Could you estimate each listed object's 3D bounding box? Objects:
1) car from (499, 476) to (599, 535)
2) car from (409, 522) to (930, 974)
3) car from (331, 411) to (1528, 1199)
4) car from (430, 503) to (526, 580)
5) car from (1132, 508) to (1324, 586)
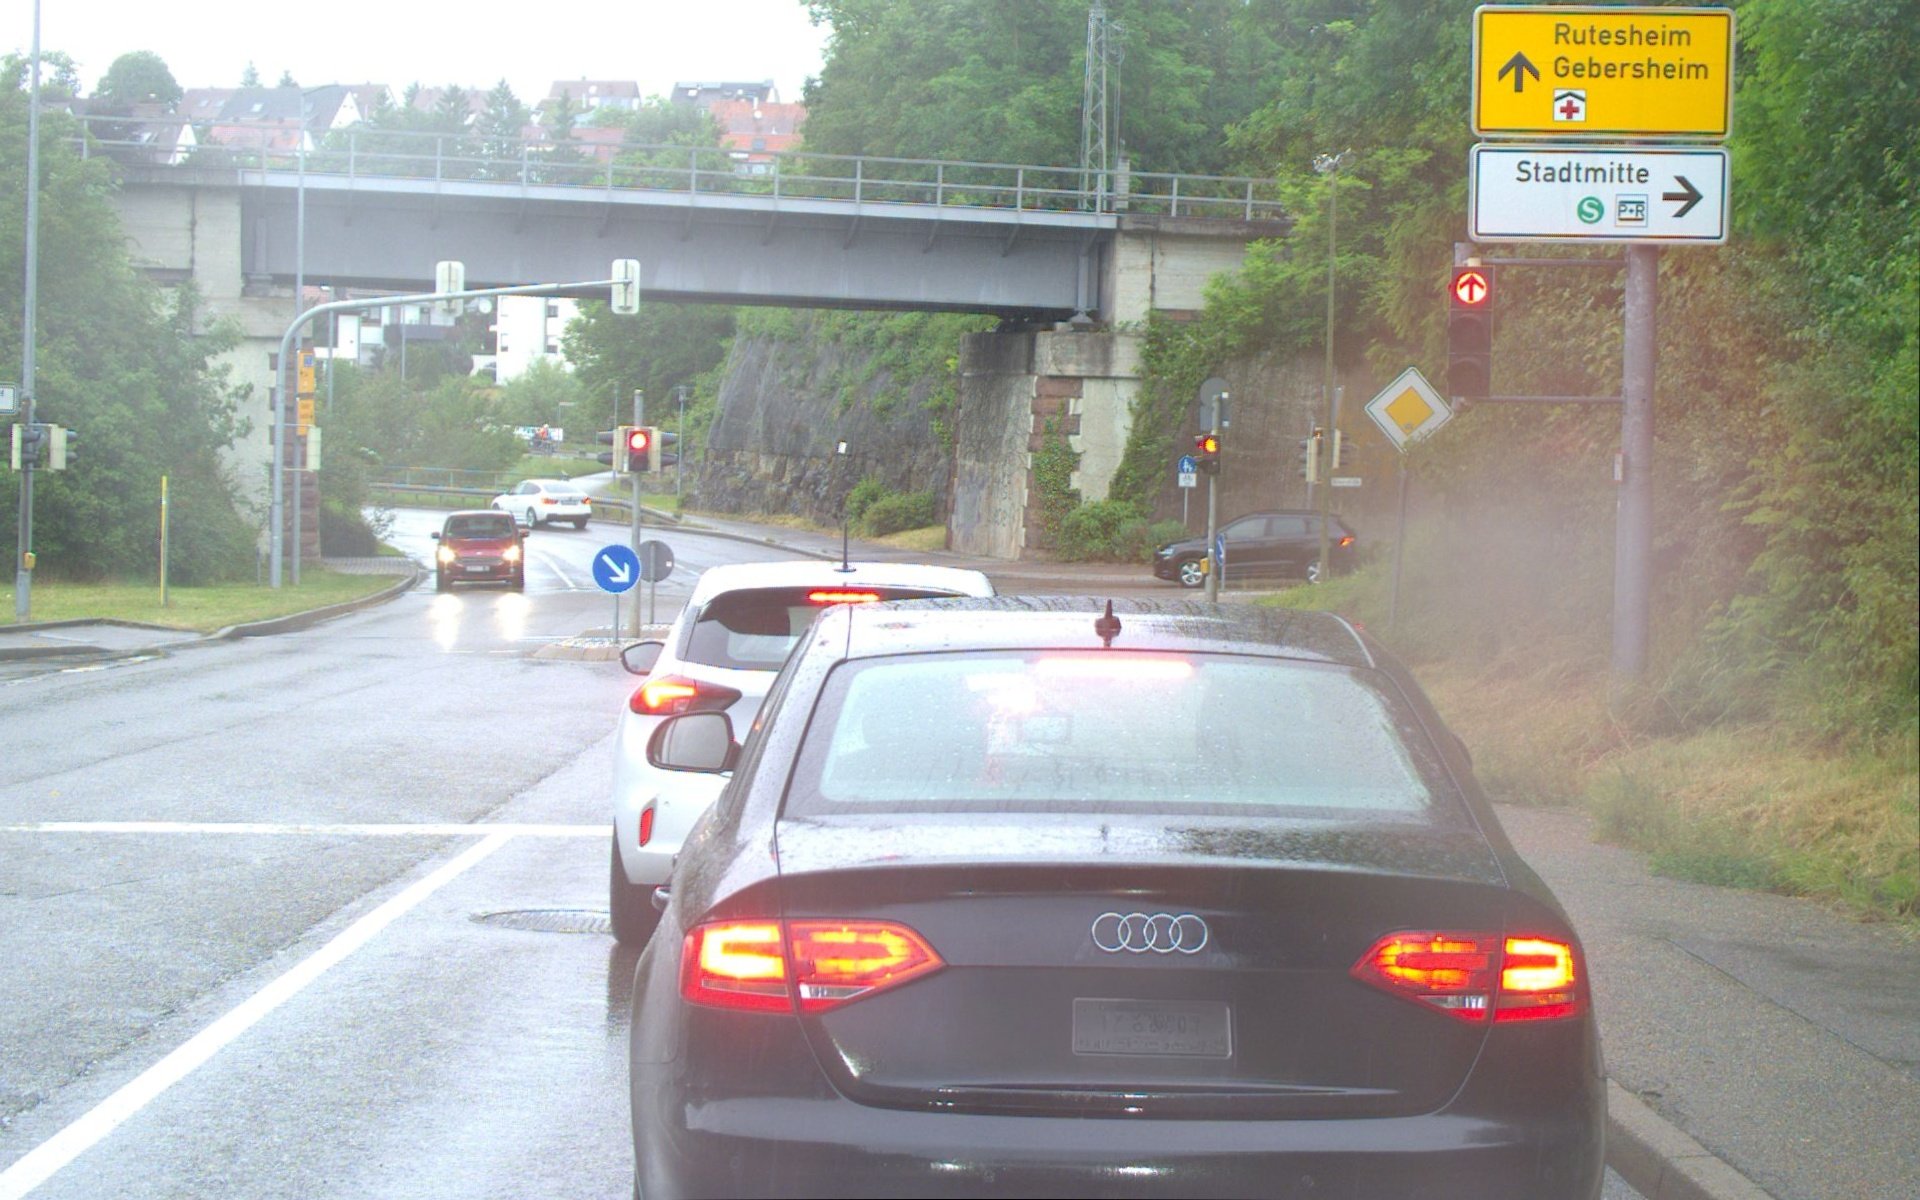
[{"bbox_3d":[-13.146,-2.987,109.673,1.804,1.736,4.481,1,0,-26],"label":"car"},{"bbox_3d":[-1.051,0.527,14.133,1.823,1.579,4.000,1,0,-1],"label":"car"},{"bbox_3d":[-0.073,0.520,7.400,1.870,1.611,4.000,1,0,-1],"label":"car"},{"bbox_3d":[-10.481,-1.274,74.903,1.993,1.622,4.001,0,1,-7],"label":"car"},{"bbox_3d":[5.698,-1.127,72.759,3.988,1.590,2.000,0,1,6],"label":"car"}]
